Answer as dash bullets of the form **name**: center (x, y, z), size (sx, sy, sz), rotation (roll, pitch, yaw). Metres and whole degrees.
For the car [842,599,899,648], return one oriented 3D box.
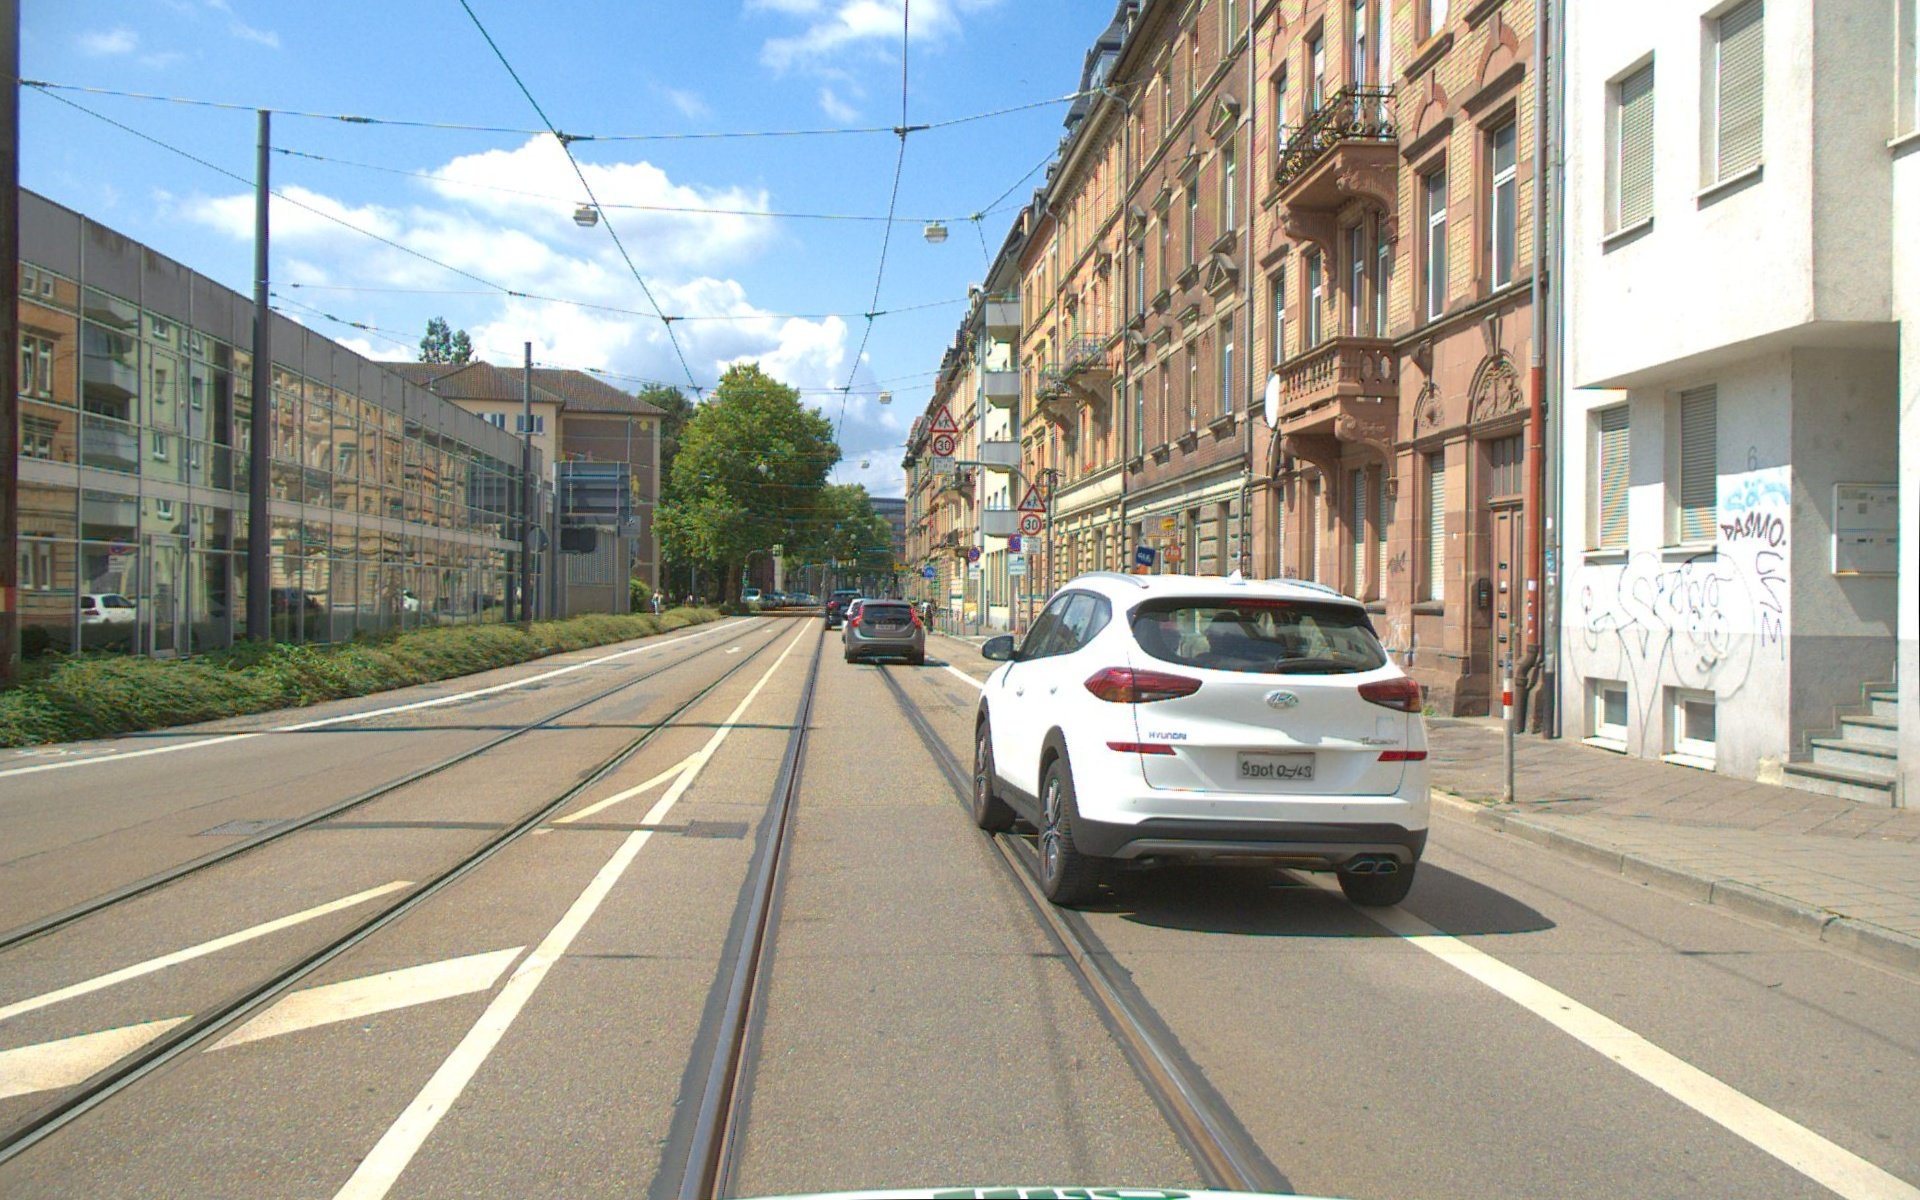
- **car**: center (-3.009, 0.753, 55.130), size (1.779, 1.551, 3.952), rotation (0, 0, -5)

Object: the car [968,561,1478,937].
- **car**: center (1.208, 0.646, 9.495), size (1.817, 1.662, 4.174), rotation (1, 0, -7)

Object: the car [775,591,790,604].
- **car**: center (-23.354, -0.324, 217.526), size (1.913, 1.660, 3.994), rotation (1, 0, -7)

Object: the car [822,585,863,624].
- **car**: center (-5.357, 0.195, 75.227), size (1.779, 1.691, 4.081), rotation (0, 0, -5)

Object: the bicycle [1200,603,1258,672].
- **bicycle**: center (4.957, 0.671, 30.574), size (0.575, 1.199, 2.203), rotation (0, 0, -4)

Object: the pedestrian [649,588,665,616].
- **pedestrian**: center (-20.320, 0.124, 110.938), size (0.862, 1.898, 1.080), rotation (-1, 0, -4)

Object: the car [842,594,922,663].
- **car**: center (-1.791, 0.627, 39.005), size (1.778, 1.551, 4.084), rotation (0, 0, -2)

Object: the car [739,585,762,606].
- **car**: center (-19.413, -0.406, 153.502), size (1.912, 1.928, 4.561), rotation (1, 0, -5)
